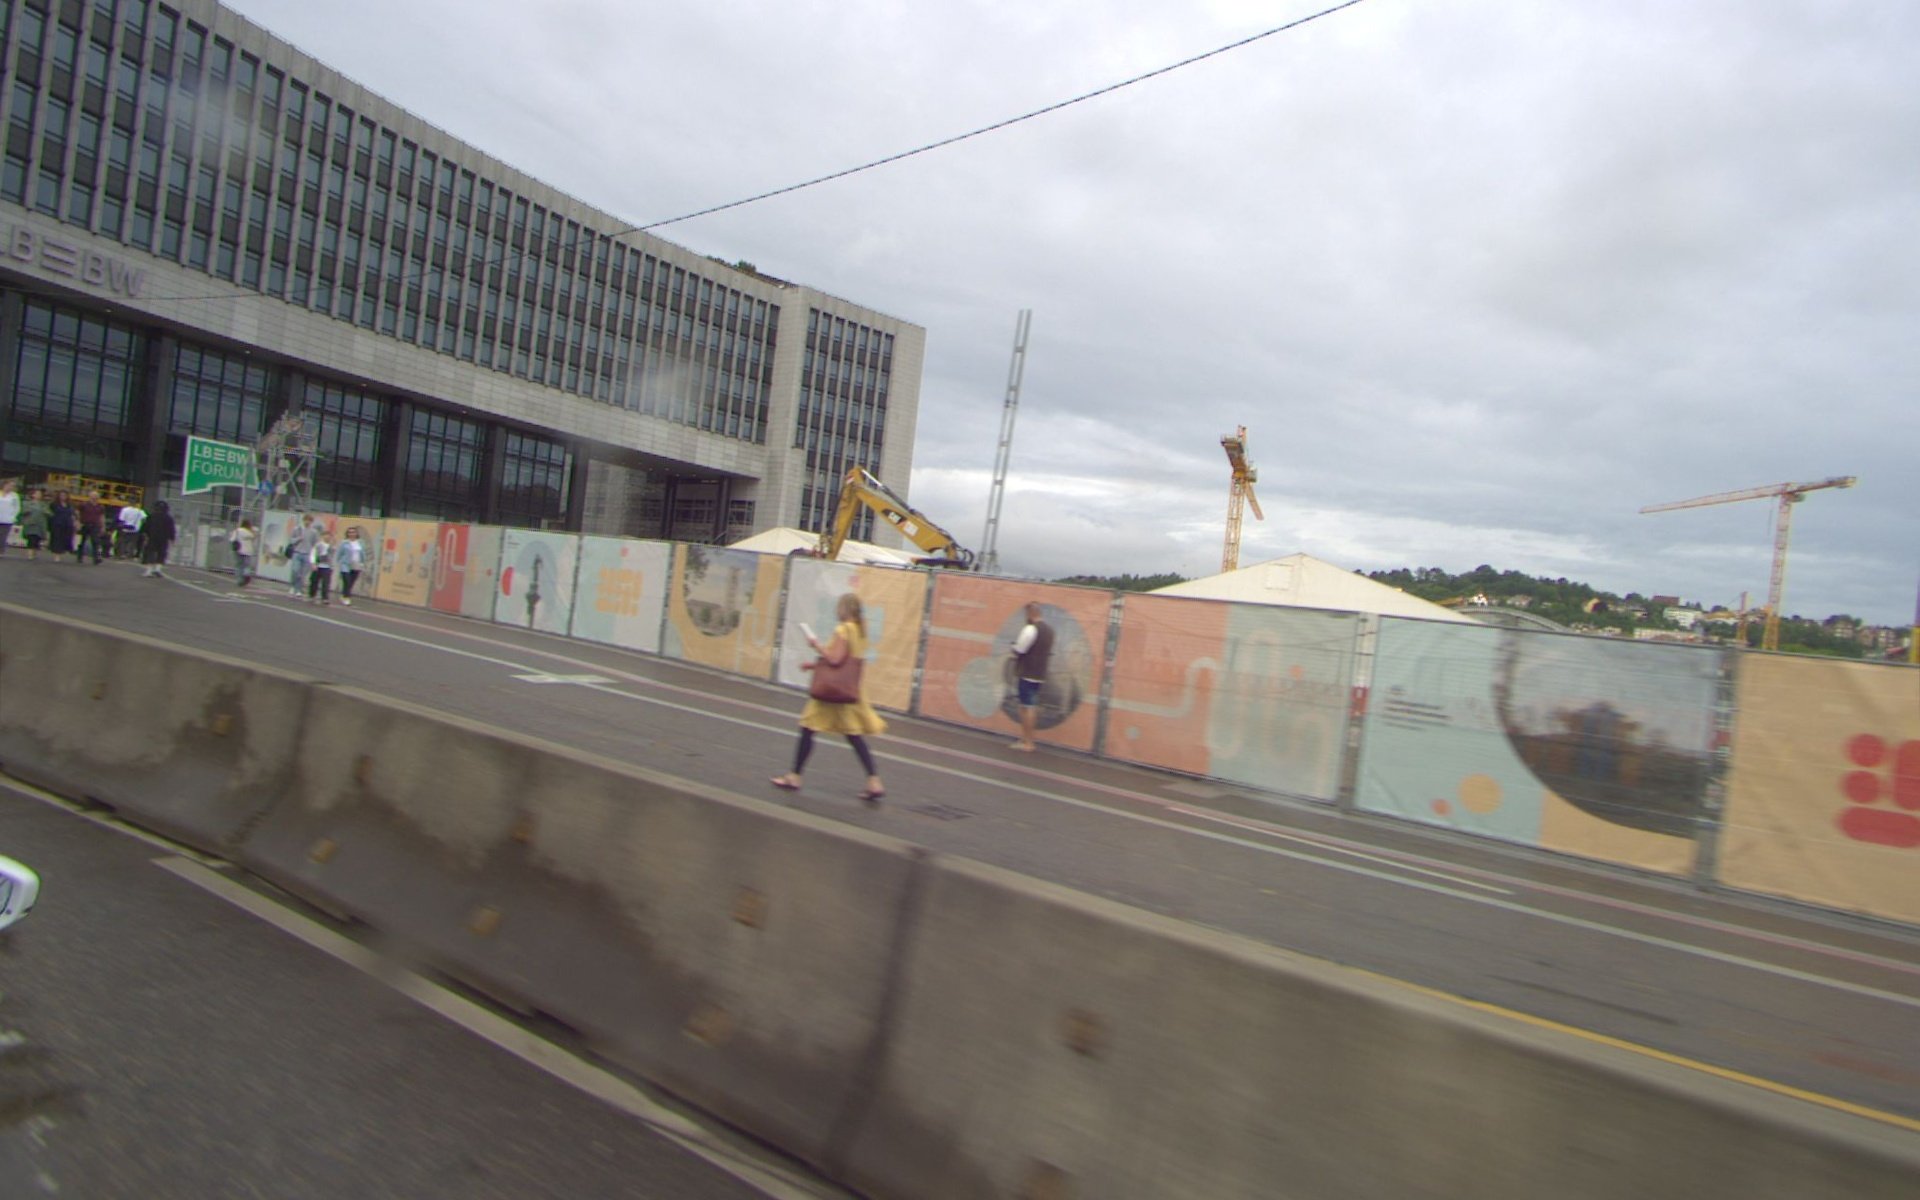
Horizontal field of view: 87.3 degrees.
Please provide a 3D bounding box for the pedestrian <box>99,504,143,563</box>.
[{"bbox_3d":[-25.915,-2.051,31.074,0.863,1.656,0.996,7,-1,-43],"label":"pedestrian"}]

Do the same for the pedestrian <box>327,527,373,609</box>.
[{"bbox_3d":[-13.306,-0.699,21.936,0.643,1.675,0.758,7,0,-36],"label":"pedestrian"}]

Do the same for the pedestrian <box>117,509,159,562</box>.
[{"bbox_3d":[-26.570,-2.093,32.520,0.863,1.572,0.996,7,-1,-43],"label":"pedestrian"}]

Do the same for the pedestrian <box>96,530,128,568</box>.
[{"bbox_3d":[-39.133,-2.355,46.430,0.729,1.656,0.652,7,0,-13],"label":"pedestrian"}]

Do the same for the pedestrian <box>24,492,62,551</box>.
[{"bbox_3d":[-27.688,-2.361,30.372,0.696,1.656,0.905,7,-1,-43],"label":"pedestrian"}]

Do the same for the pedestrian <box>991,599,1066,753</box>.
[{"bbox_3d":[0.827,0.918,12.126,0.487,1.769,0.567,7,0,36],"label":"pedestrian"}]

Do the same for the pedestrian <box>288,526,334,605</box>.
[{"bbox_3d":[-13.773,-0.735,21.342,0.643,1.572,0.758,7,0,-36],"label":"pedestrian"}]

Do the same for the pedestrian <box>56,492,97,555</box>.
[{"bbox_3d":[-27.235,-2.355,30.993,0.769,1.804,0.996,7,-1,-43],"label":"pedestrian"}]

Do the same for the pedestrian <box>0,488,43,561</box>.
[{"bbox_3d":[-21.455,-1.717,22.890,0.872,1.540,0.609,6,0,37],"label":"pedestrian"}]

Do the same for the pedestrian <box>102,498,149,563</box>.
[{"bbox_3d":[-24.859,-2.065,29.971,0.863,1.803,0.996,7,-1,-43],"label":"pedestrian"}]

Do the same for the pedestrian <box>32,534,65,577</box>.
[{"bbox_3d":[-38.206,-1.882,42.172,0.863,1.656,0.996,7,-1,-43],"label":"pedestrian"}]

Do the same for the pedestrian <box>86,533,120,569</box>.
[{"bbox_3d":[-42.589,-2.413,49.993,0.857,1.656,1.003,7,-1,-23],"label":"pedestrian"}]

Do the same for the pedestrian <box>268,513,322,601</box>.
[{"bbox_3d":[-15.069,-0.970,22.790,0.813,1.871,0.922,7,0,-36],"label":"pedestrian"}]

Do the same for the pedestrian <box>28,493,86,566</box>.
[{"bbox_3d":[-21.099,-1.653,23.505,0.993,1.572,0.714,6,-1,37],"label":"pedestrian"}]

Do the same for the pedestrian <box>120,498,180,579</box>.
[{"bbox_3d":[-18.744,-1.422,23.273,0.863,1.746,0.996,7,-1,-43],"label":"pedestrian"}]

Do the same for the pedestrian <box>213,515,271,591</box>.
[{"bbox_3d":[-17.418,-1.135,24.400,0.863,1.709,0.996,7,-1,-43],"label":"pedestrian"}]

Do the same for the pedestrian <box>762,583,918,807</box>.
[{"bbox_3d":[-0.968,0.753,8.224,0.890,1.652,0.649,7,0,18],"label":"pedestrian"}]

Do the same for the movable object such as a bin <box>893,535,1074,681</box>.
[{"bbox_3d":[0.642,0.216,27.438,4.155,3.450,1.943,7,-1,25],"label":"movable object such as a bin"}]

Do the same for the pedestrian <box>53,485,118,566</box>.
[{"bbox_3d":[-21.472,-1.823,24.692,0.993,1.839,0.866,6,-1,37],"label":"pedestrian"}]

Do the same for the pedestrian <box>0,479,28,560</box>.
[{"bbox_3d":[-21.524,-1.827,22.444,0.878,1.743,0.777,6,0,37],"label":"pedestrian"}]
